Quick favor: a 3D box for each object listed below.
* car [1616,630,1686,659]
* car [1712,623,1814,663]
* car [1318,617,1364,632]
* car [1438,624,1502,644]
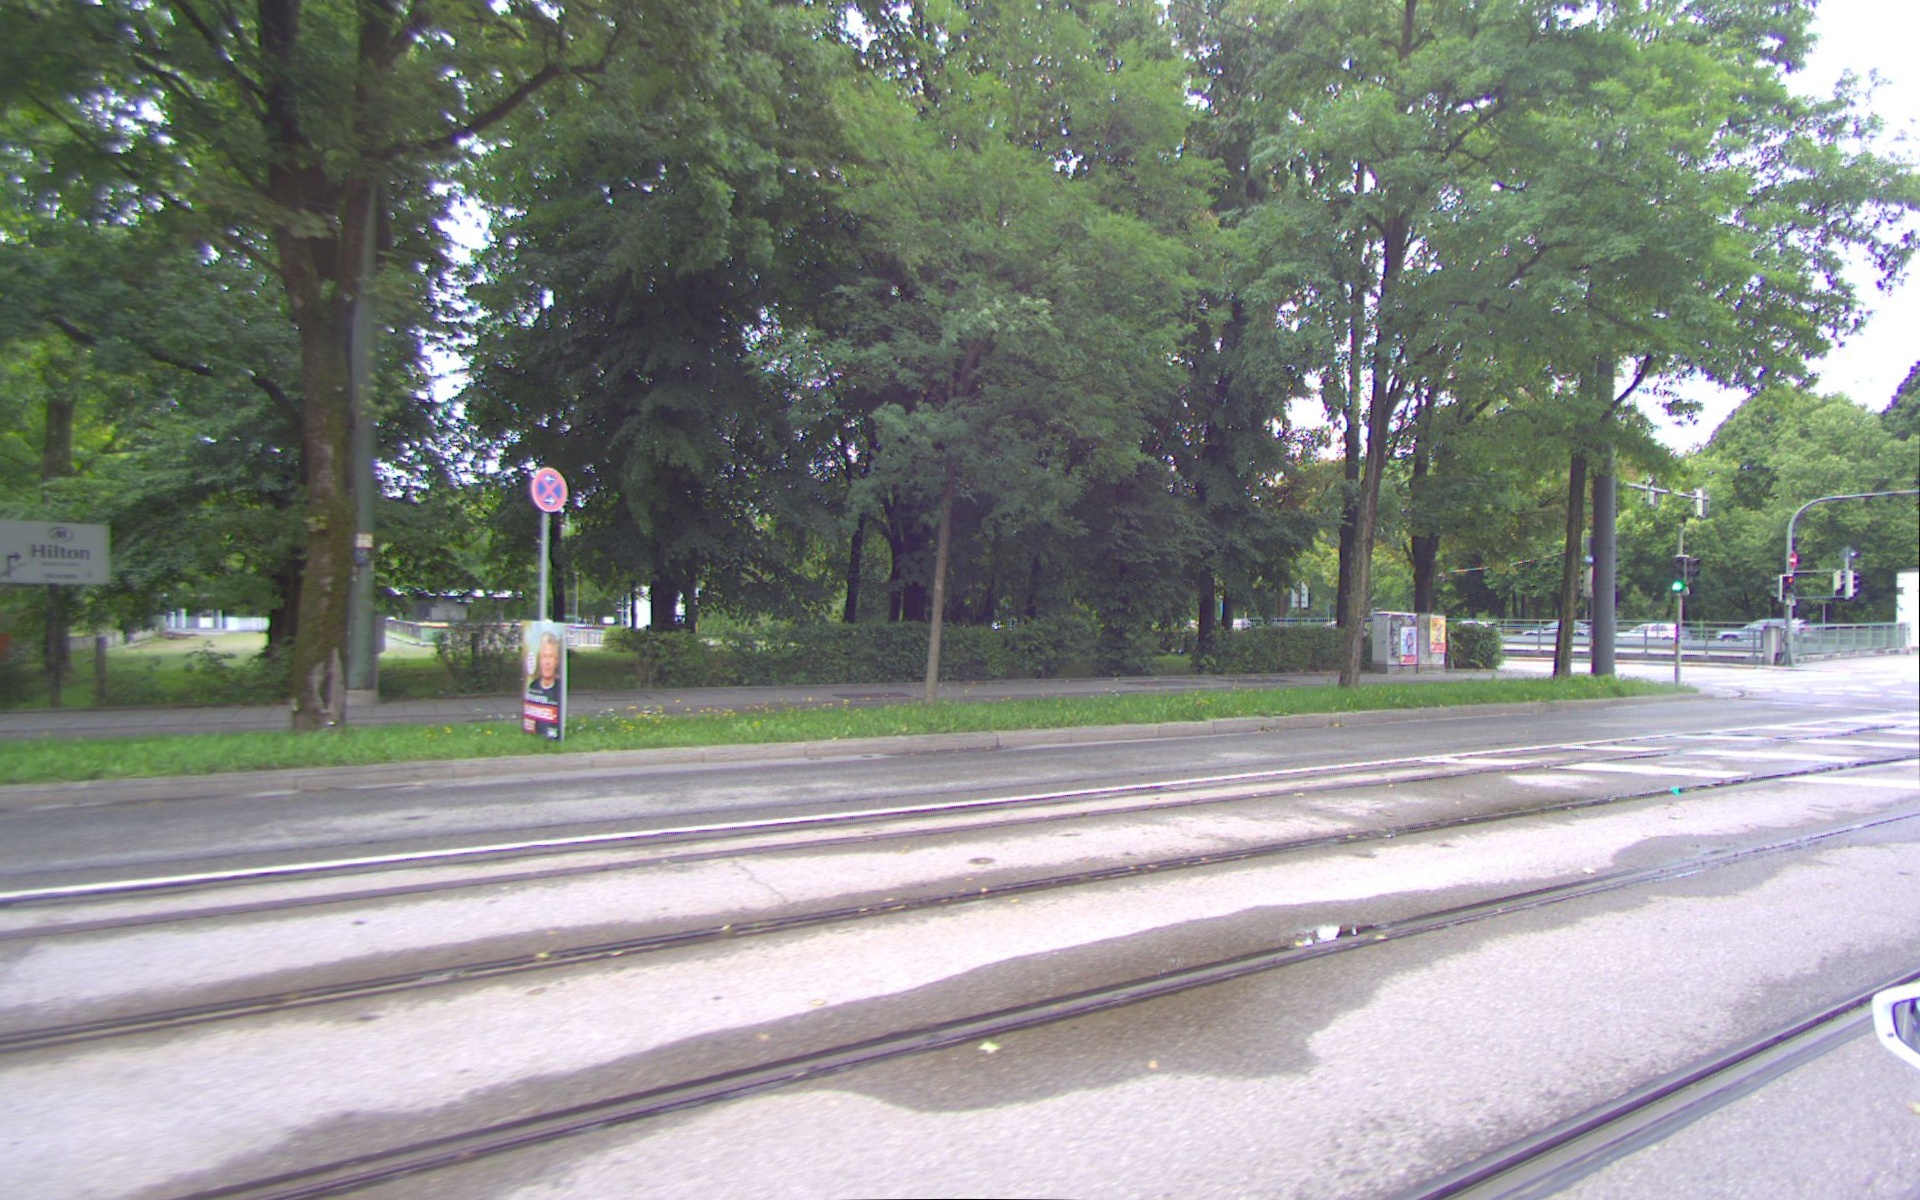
[{"bbox_3d":[40.025,2.558,58.224,1.238,1.471,3.090,2,1,-34],"label":"car"},{"bbox_3d":[43.336,2.286,54.274,1.476,1.912,3.994,2,1,-36],"label":"car"},{"bbox_3d":[28.777,1.864,75.842,1.238,0.985,3.090,2,1,-34],"label":"car"},{"bbox_3d":[34.409,2.277,67.808,1.238,1.201,3.704,2,1,-34],"label":"car"}]
